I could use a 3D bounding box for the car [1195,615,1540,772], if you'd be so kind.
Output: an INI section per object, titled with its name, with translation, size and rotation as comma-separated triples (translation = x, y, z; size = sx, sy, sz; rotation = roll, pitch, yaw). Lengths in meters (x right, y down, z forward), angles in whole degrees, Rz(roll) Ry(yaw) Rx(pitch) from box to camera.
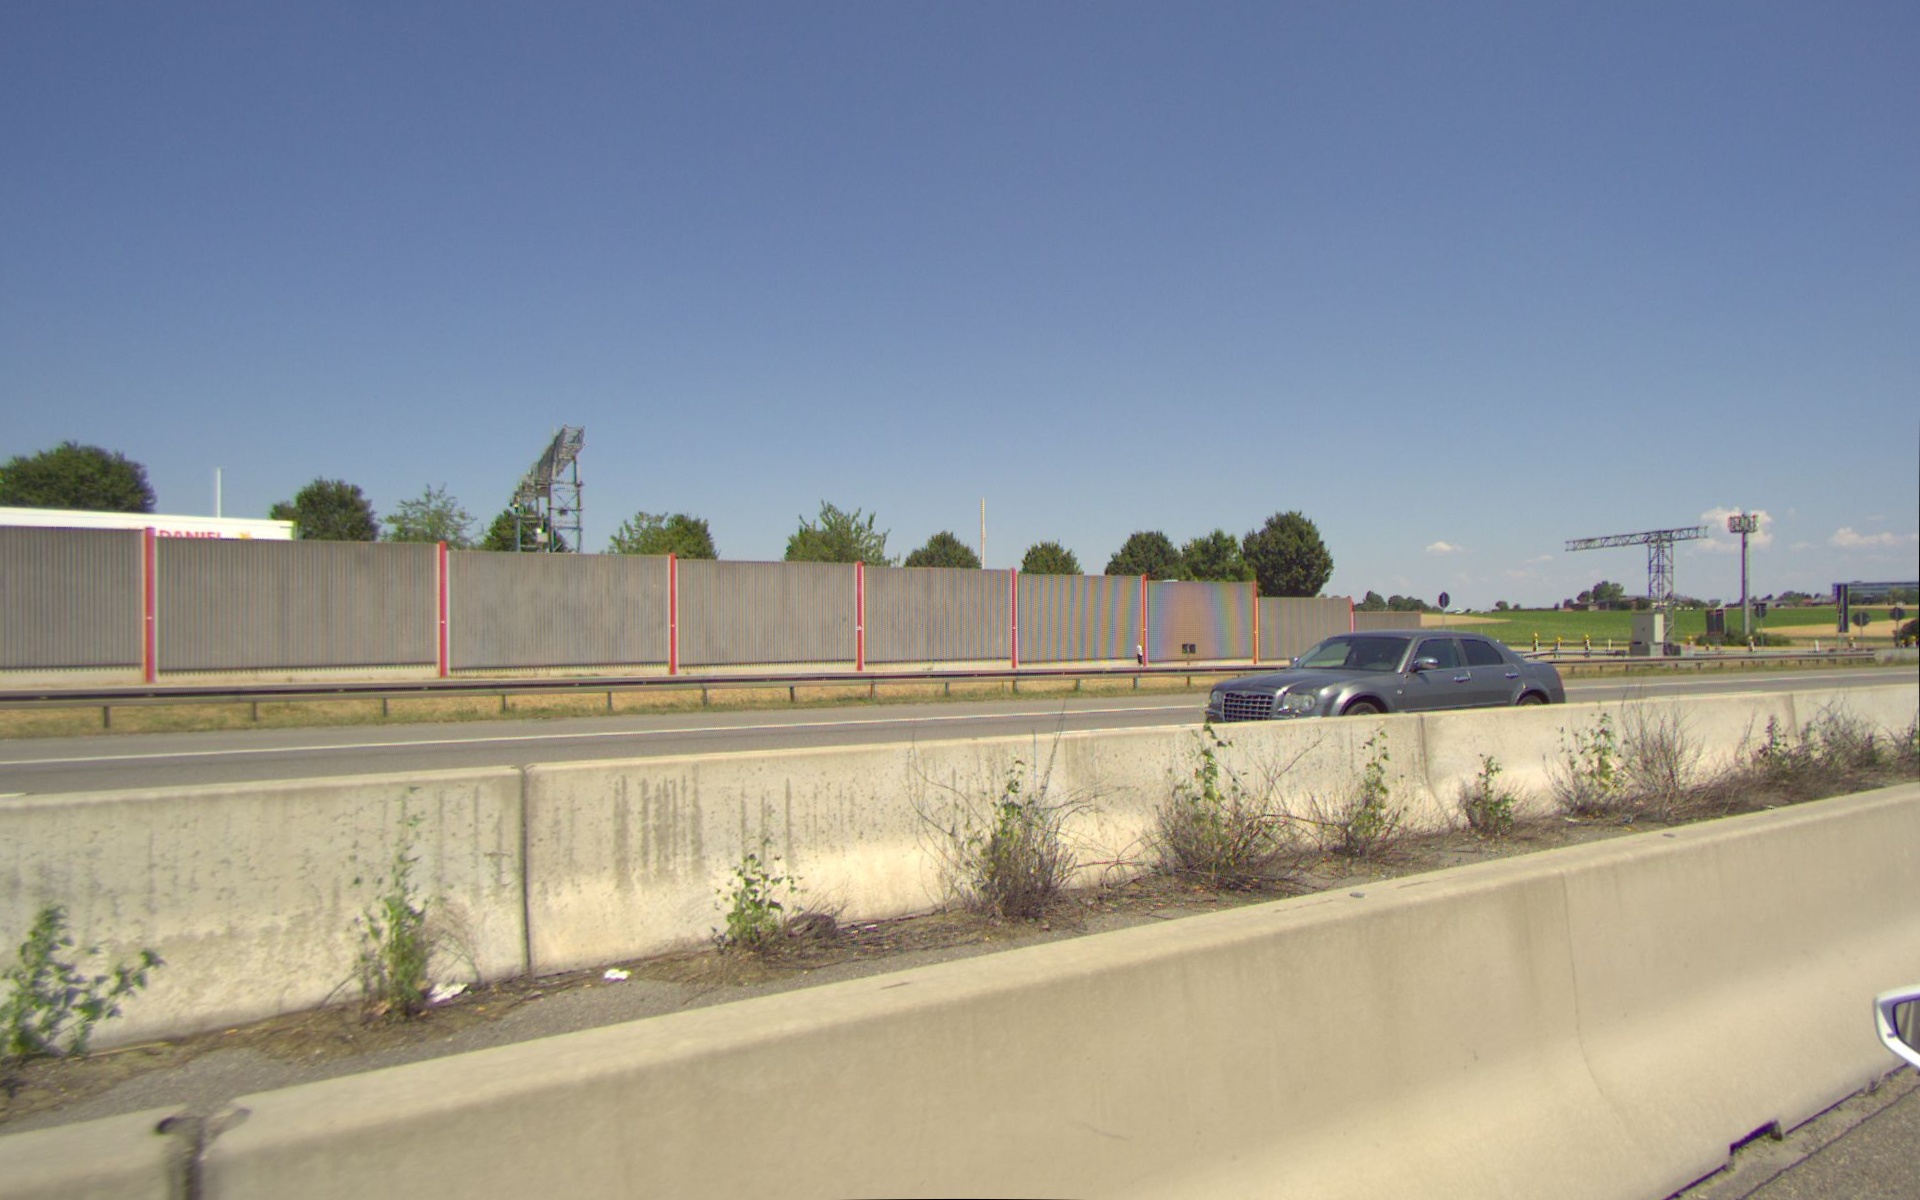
[car]
translation = 4.776, 0.978, 11.650
size = 3.953, 1.539, 1.647
rotation = 1, -1, -31
